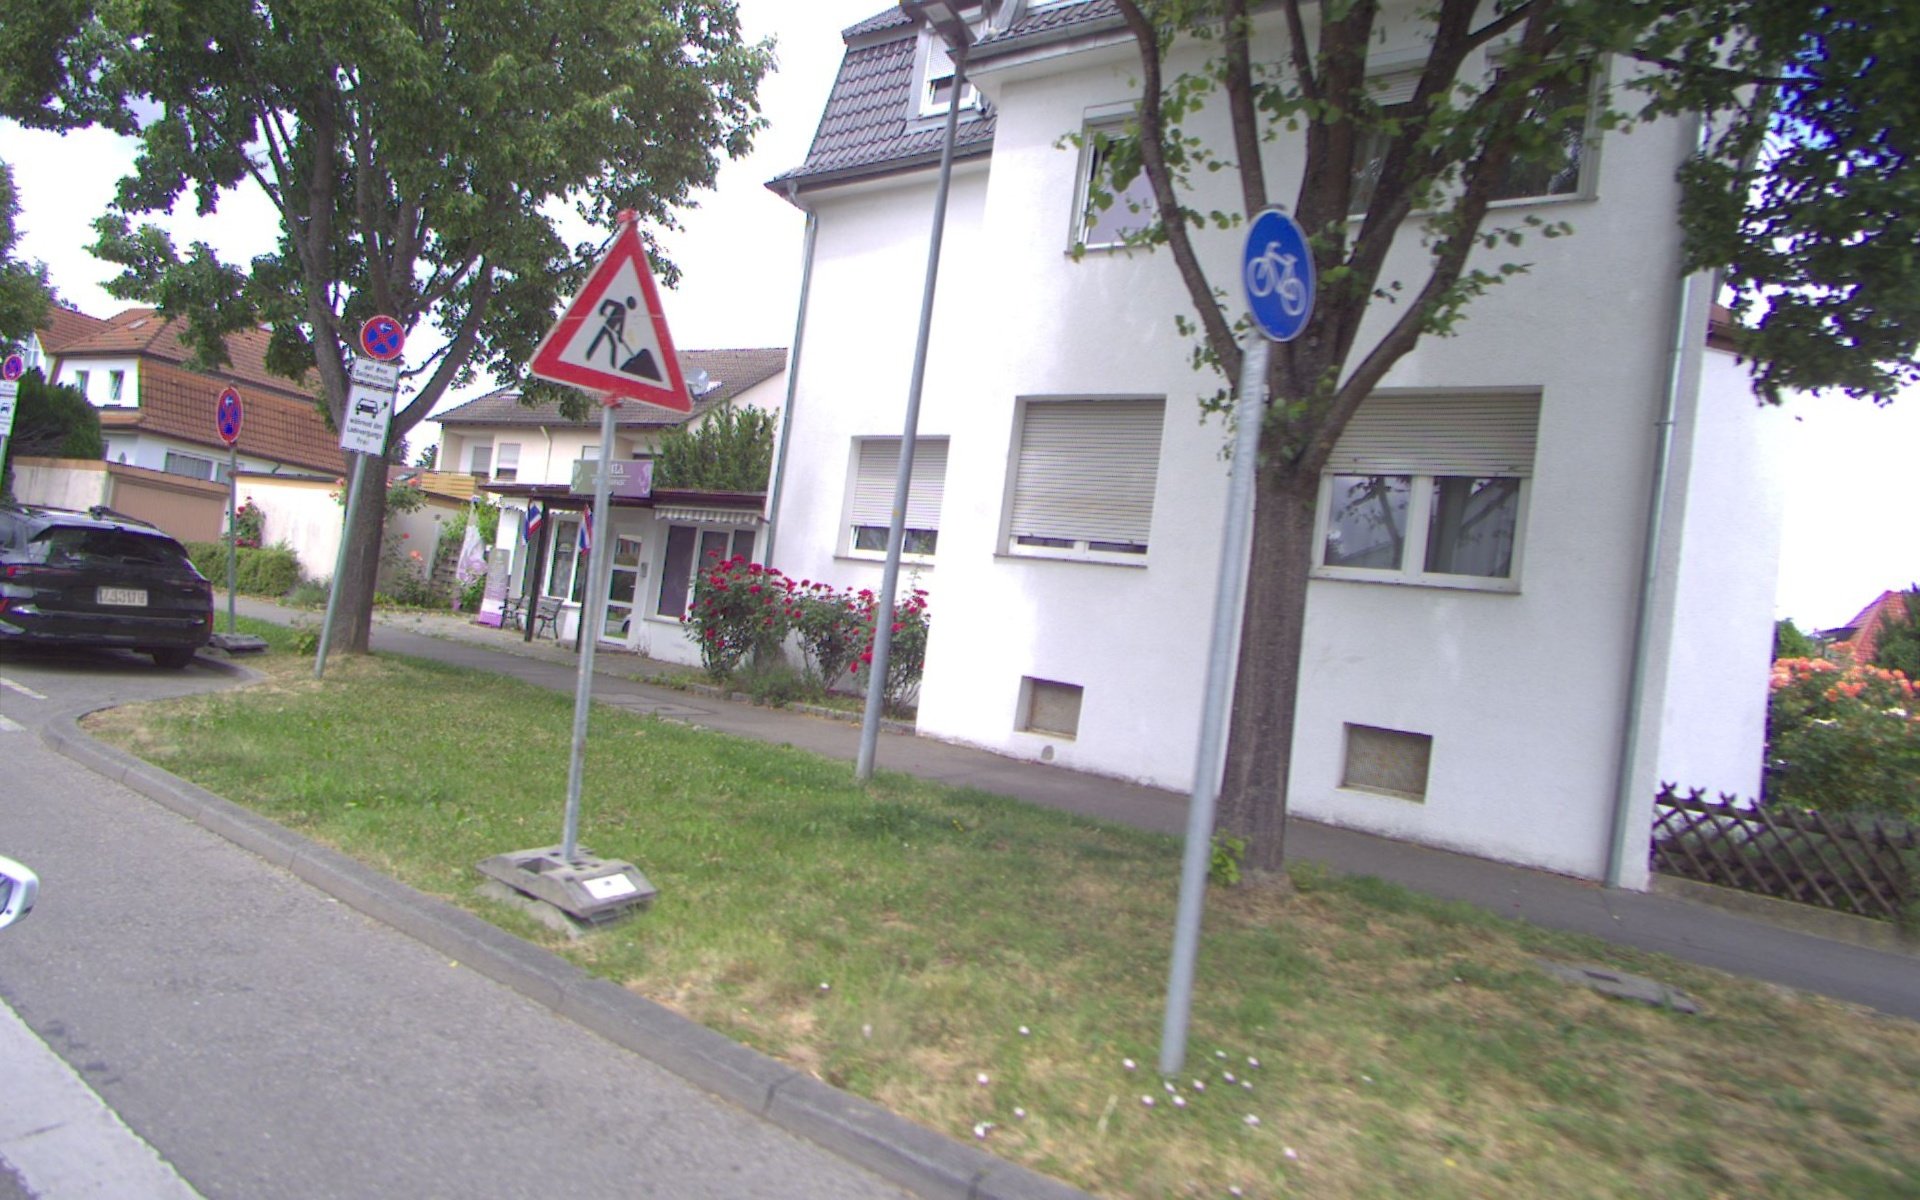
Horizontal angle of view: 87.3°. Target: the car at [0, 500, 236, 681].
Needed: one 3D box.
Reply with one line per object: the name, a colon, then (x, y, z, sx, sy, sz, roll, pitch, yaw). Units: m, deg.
car: (-9.536, -0.240, 10.342, 4.540, 1.472, 1.708, 7, -1, 32)
